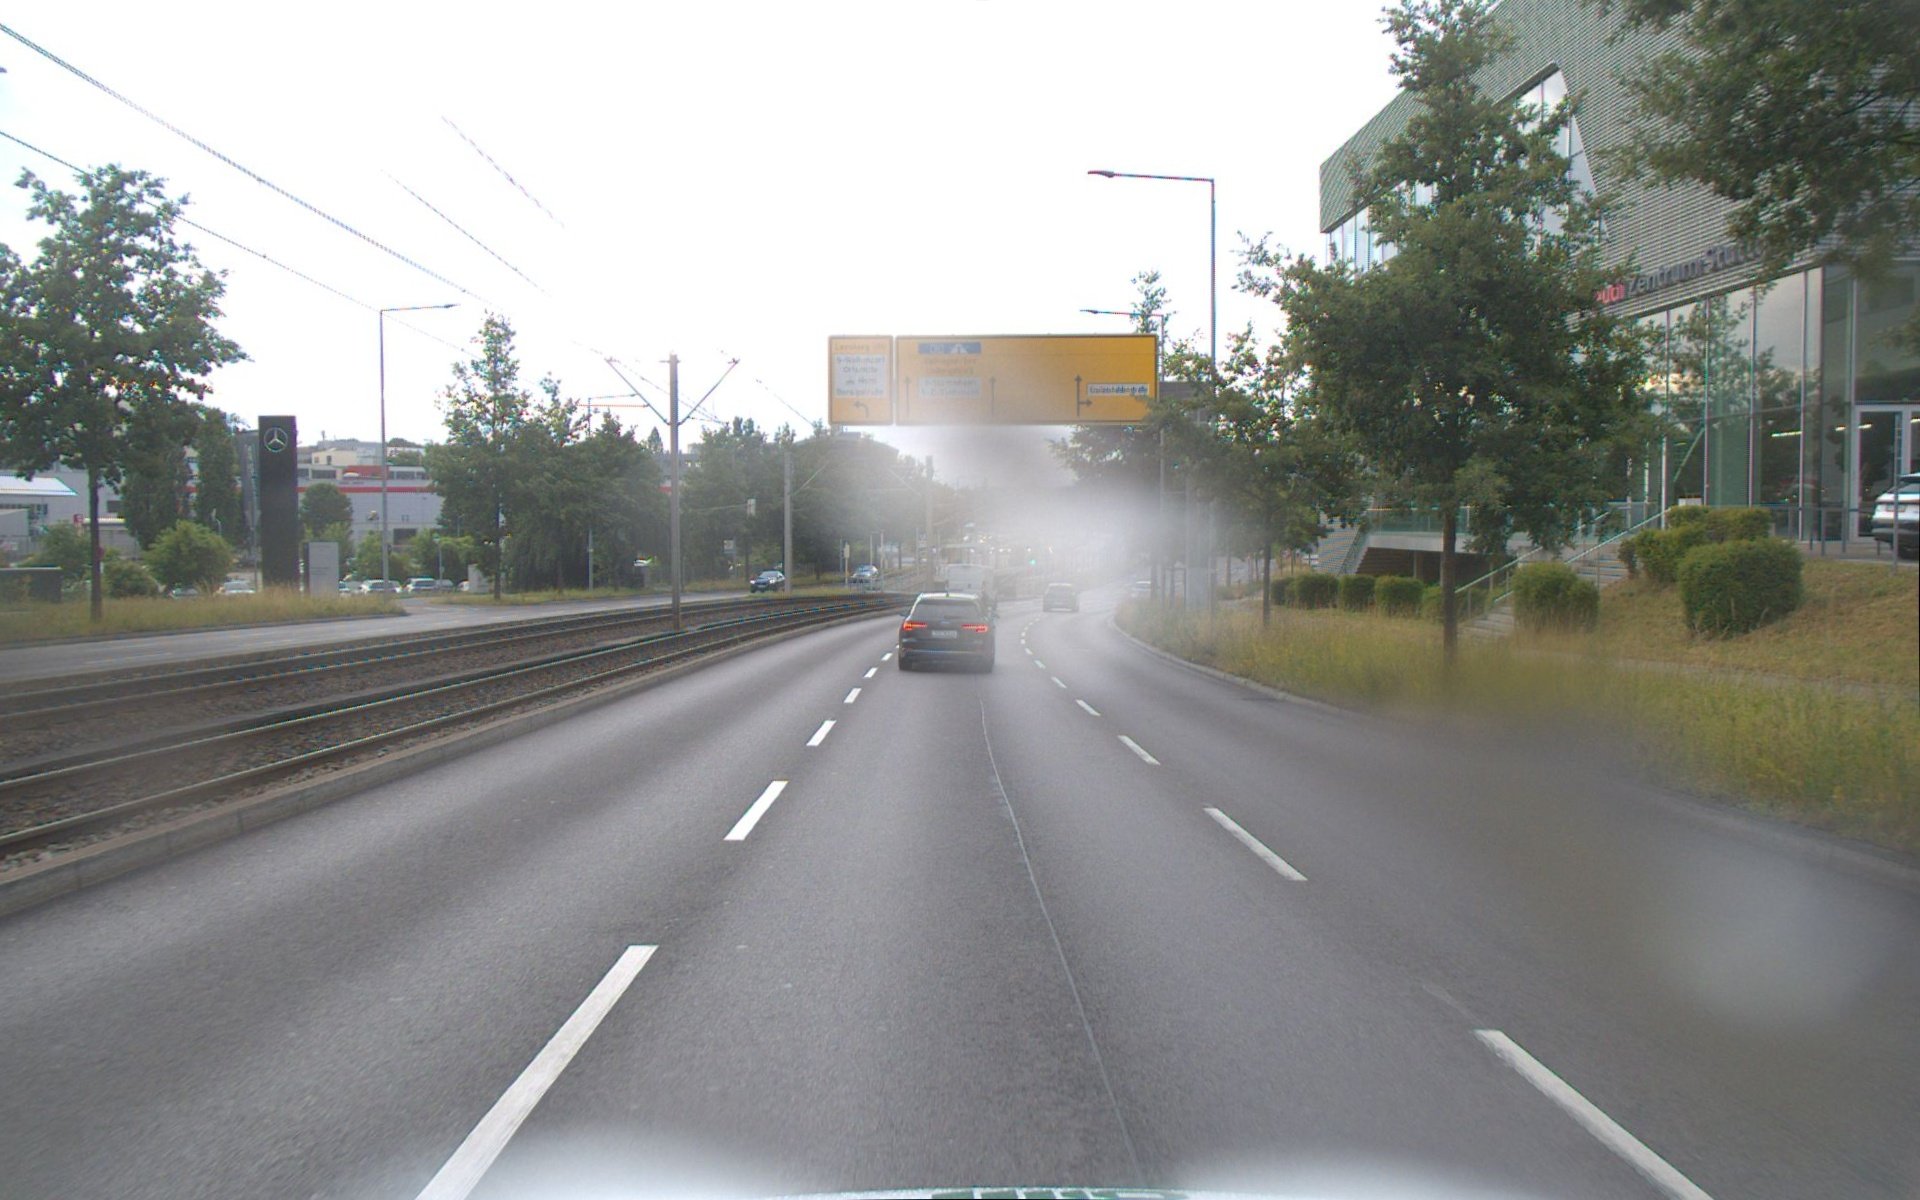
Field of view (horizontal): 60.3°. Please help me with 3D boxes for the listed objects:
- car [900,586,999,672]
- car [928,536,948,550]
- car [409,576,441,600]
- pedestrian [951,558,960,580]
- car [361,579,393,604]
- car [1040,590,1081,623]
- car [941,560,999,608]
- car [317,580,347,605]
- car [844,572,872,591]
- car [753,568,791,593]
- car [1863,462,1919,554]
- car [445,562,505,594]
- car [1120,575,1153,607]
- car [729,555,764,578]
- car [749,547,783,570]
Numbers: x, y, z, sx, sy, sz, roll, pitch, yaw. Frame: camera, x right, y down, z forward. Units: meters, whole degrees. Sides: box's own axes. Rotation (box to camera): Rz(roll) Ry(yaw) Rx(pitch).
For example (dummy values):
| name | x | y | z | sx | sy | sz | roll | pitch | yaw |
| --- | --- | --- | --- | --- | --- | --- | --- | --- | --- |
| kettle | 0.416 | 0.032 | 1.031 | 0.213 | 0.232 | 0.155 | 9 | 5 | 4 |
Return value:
| name | x | y | z | sx | sy | sz | roll | pitch | yaw |
| --- | --- | --- | --- | --- | --- | --- | --- | --- | --- |
| car | -0.182 | 0.494 | 32.000 | 1.728 | 1.489 | 4.627 | 2 | 0 | 0 |
| car | -3.447 | -8.996 | 260.393 | 1.964 | 2.049 | 3.977 | 2 | -1 | -19 |
| car | -34.652 | -0.774 | 107.059 | 1.727 | 1.520 | 3.974 | 2 | 0 | -22 |
| pedestrian | -0.389 | -2.700 | 145.875 | 0.623 | 1.886 | 0.751 | 1 | -1 | 11 |
| car | -37.373 | -0.552 | 106.006 | 1.727 | 1.520 | 3.974 | 2 | 0 | -22 |
| car | 5.255 | 0.348 | 86.473 | 1.978 | 1.651 | 4.002 | 2 | 0 | 5 |
| car | 0.549 | -0.776 | 82.113 | 2.458 | 2.215 | 5.152 | 2 | 0 | 4 |
| car | -39.914 | -0.464 | 105.116 | 1.727 | 1.520 | 3.974 | 2 | 0 | -22 |
| car | -9.613 | -1.772 | 156.746 | 1.951 | 1.709 | 4.003 | 2 | 1 | 7 |
| car | -12.609 | -1.341 | 111.126 | 1.844 | 1.547 | 4.404 | -3 | 1 | 2 |
| car | 19.142 | -1.636 | 30.396 | 4.173 | 1.601 | 1.692 | 1 | 1 | -2 |
| car | -27.453 | -1.232 | 93.753 | 1.952 | 1.679 | 4.002 | 2 | 0 | 4 |
| car | 11.436 | -0.593 | 107.158 | 1.978 | 1.800 | 4.005 | 1 | 3 | 8 |
| car | -19.926 | -3.127 | 154.550 | 1.951 | 2.049 | 4.003 | 2 | 0 | 14 |
| car | -18.707 | -3.970 | 159.743 | 1.951 | 2.049 | 4.003 | 2 | 0 | 14 |
